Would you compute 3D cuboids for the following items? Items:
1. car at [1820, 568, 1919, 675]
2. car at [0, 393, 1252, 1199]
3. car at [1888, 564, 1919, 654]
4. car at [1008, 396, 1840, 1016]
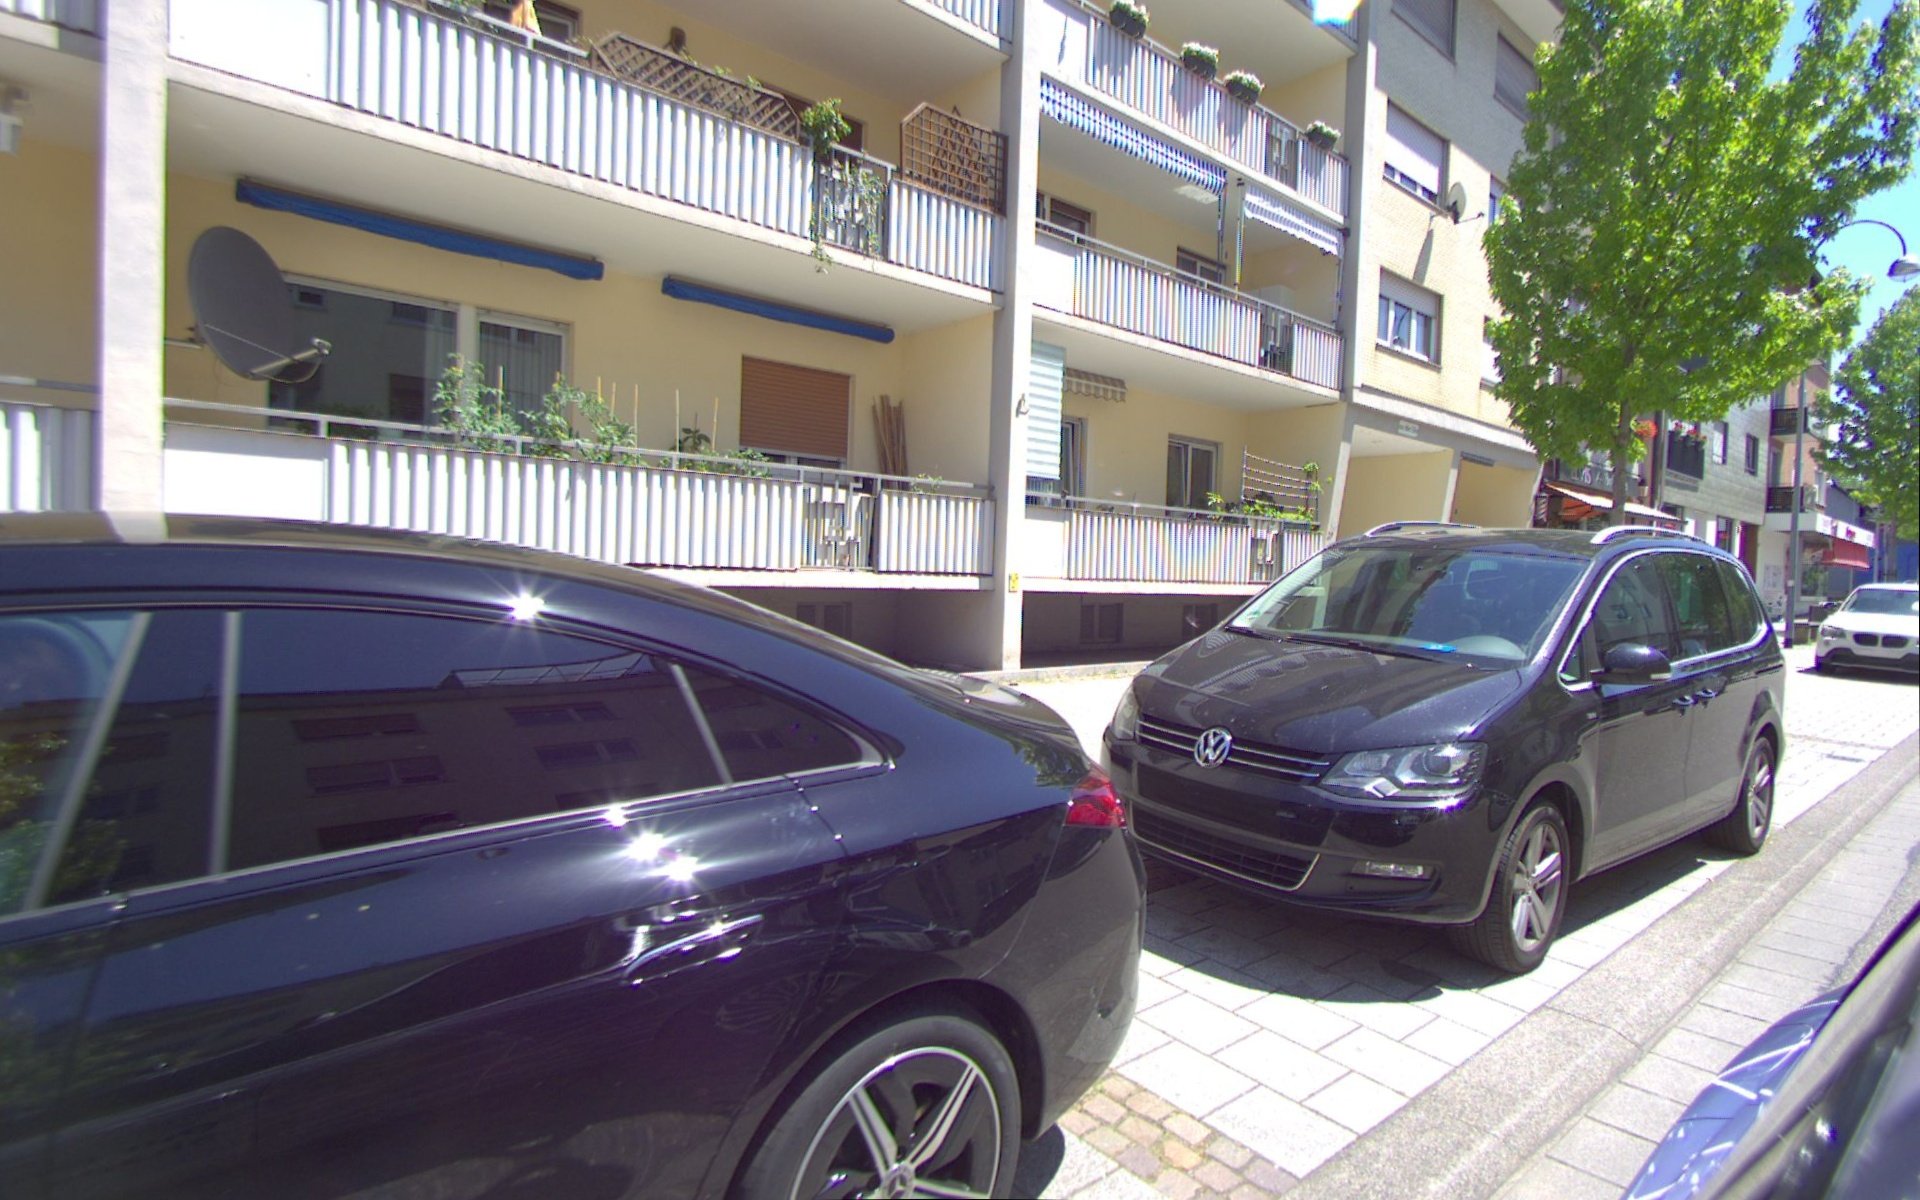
[{"bbox_3d":[16.240,0.314,17.177,4.149,1.602,1.727,-1,4,-39],"label":"car"},{"bbox_3d":[-1.670,0.521,1.569,4.489,1.548,1.899,-1,4,-41],"label":"car"},{"bbox_3d":[20.644,0.194,20.749,4.623,1.726,1.768,-1,4,-41],"label":"car"},{"bbox_3d":[2.618,0.301,5.161,4.486,1.820,1.999,2,2,-39],"label":"car"}]
